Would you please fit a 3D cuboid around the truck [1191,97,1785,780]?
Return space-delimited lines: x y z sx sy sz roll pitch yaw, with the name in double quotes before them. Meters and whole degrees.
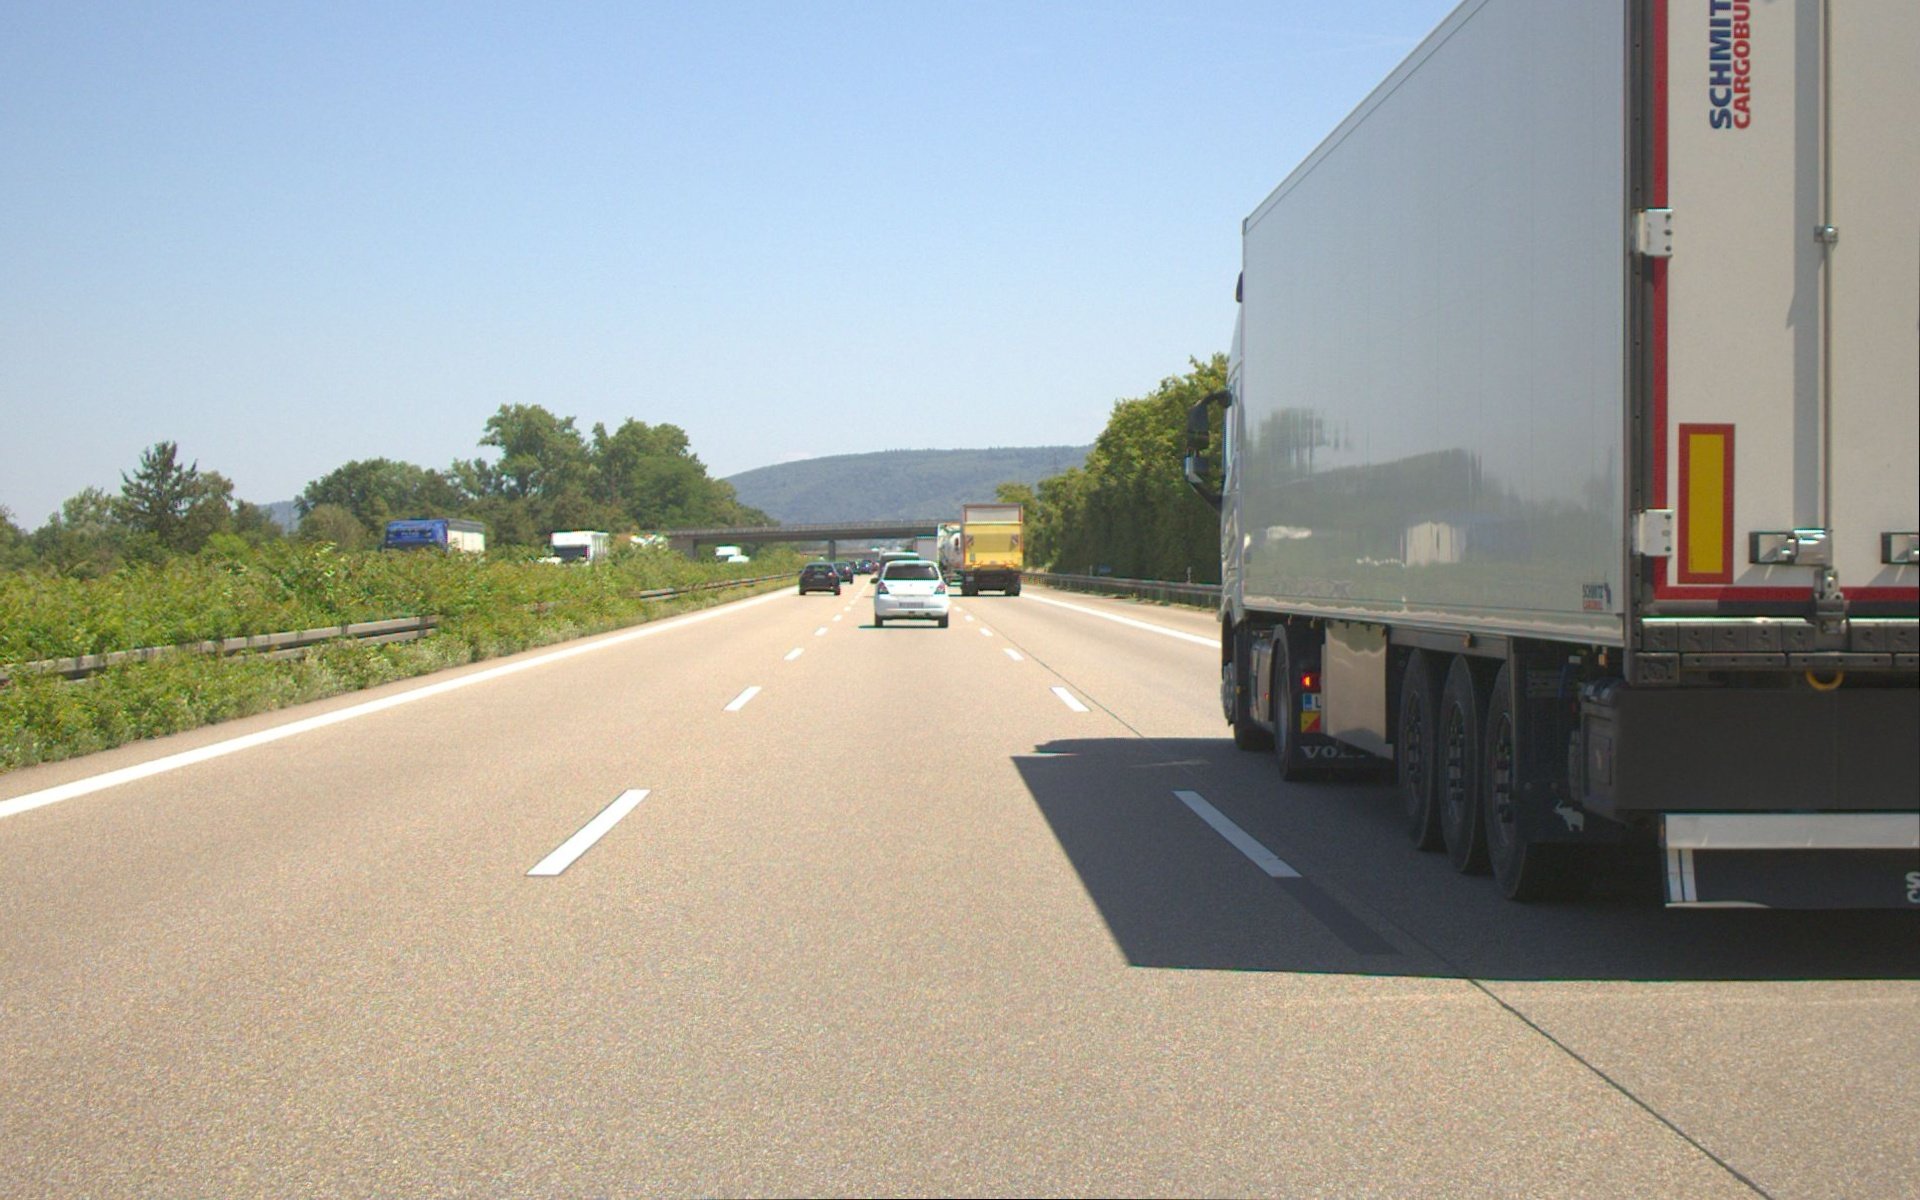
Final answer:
"truck" 3.607 -1.094 25.348 3.218 4.330 6.591 1 1 -1

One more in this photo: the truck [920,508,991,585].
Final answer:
"truck" -0.344 -3.300 213.569 4.271 4.636 13.861 0 1 0

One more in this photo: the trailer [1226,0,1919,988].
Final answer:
"trailer" 3.703 -0.955 18.603 3.218 4.330 13.630 1 1 -1

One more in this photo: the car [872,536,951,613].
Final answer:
"car" -1.115 -0.611 78.663 1.732 1.678 4.000 -1 1 -1

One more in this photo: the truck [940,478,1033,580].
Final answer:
"truck" 1.090 -3.169 153.713 3.871 4.330 13.861 1 1 0

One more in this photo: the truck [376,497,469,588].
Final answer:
"truck" -23.108 -2.471 148.092 3.133 3.819 5.834 -1 1 -1

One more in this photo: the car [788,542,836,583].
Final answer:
"car" -6.437 -1.643 149.881 1.993 1.706 4.000 -2 1 -1

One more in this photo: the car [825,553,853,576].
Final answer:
"car" -8.162 -2.387 232.347 1.795 1.545 4.000 0 1 -1

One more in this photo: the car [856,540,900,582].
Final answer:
"car" -3.402 -1.628 142.991 1.786 1.706 4.000 1 1 -1
